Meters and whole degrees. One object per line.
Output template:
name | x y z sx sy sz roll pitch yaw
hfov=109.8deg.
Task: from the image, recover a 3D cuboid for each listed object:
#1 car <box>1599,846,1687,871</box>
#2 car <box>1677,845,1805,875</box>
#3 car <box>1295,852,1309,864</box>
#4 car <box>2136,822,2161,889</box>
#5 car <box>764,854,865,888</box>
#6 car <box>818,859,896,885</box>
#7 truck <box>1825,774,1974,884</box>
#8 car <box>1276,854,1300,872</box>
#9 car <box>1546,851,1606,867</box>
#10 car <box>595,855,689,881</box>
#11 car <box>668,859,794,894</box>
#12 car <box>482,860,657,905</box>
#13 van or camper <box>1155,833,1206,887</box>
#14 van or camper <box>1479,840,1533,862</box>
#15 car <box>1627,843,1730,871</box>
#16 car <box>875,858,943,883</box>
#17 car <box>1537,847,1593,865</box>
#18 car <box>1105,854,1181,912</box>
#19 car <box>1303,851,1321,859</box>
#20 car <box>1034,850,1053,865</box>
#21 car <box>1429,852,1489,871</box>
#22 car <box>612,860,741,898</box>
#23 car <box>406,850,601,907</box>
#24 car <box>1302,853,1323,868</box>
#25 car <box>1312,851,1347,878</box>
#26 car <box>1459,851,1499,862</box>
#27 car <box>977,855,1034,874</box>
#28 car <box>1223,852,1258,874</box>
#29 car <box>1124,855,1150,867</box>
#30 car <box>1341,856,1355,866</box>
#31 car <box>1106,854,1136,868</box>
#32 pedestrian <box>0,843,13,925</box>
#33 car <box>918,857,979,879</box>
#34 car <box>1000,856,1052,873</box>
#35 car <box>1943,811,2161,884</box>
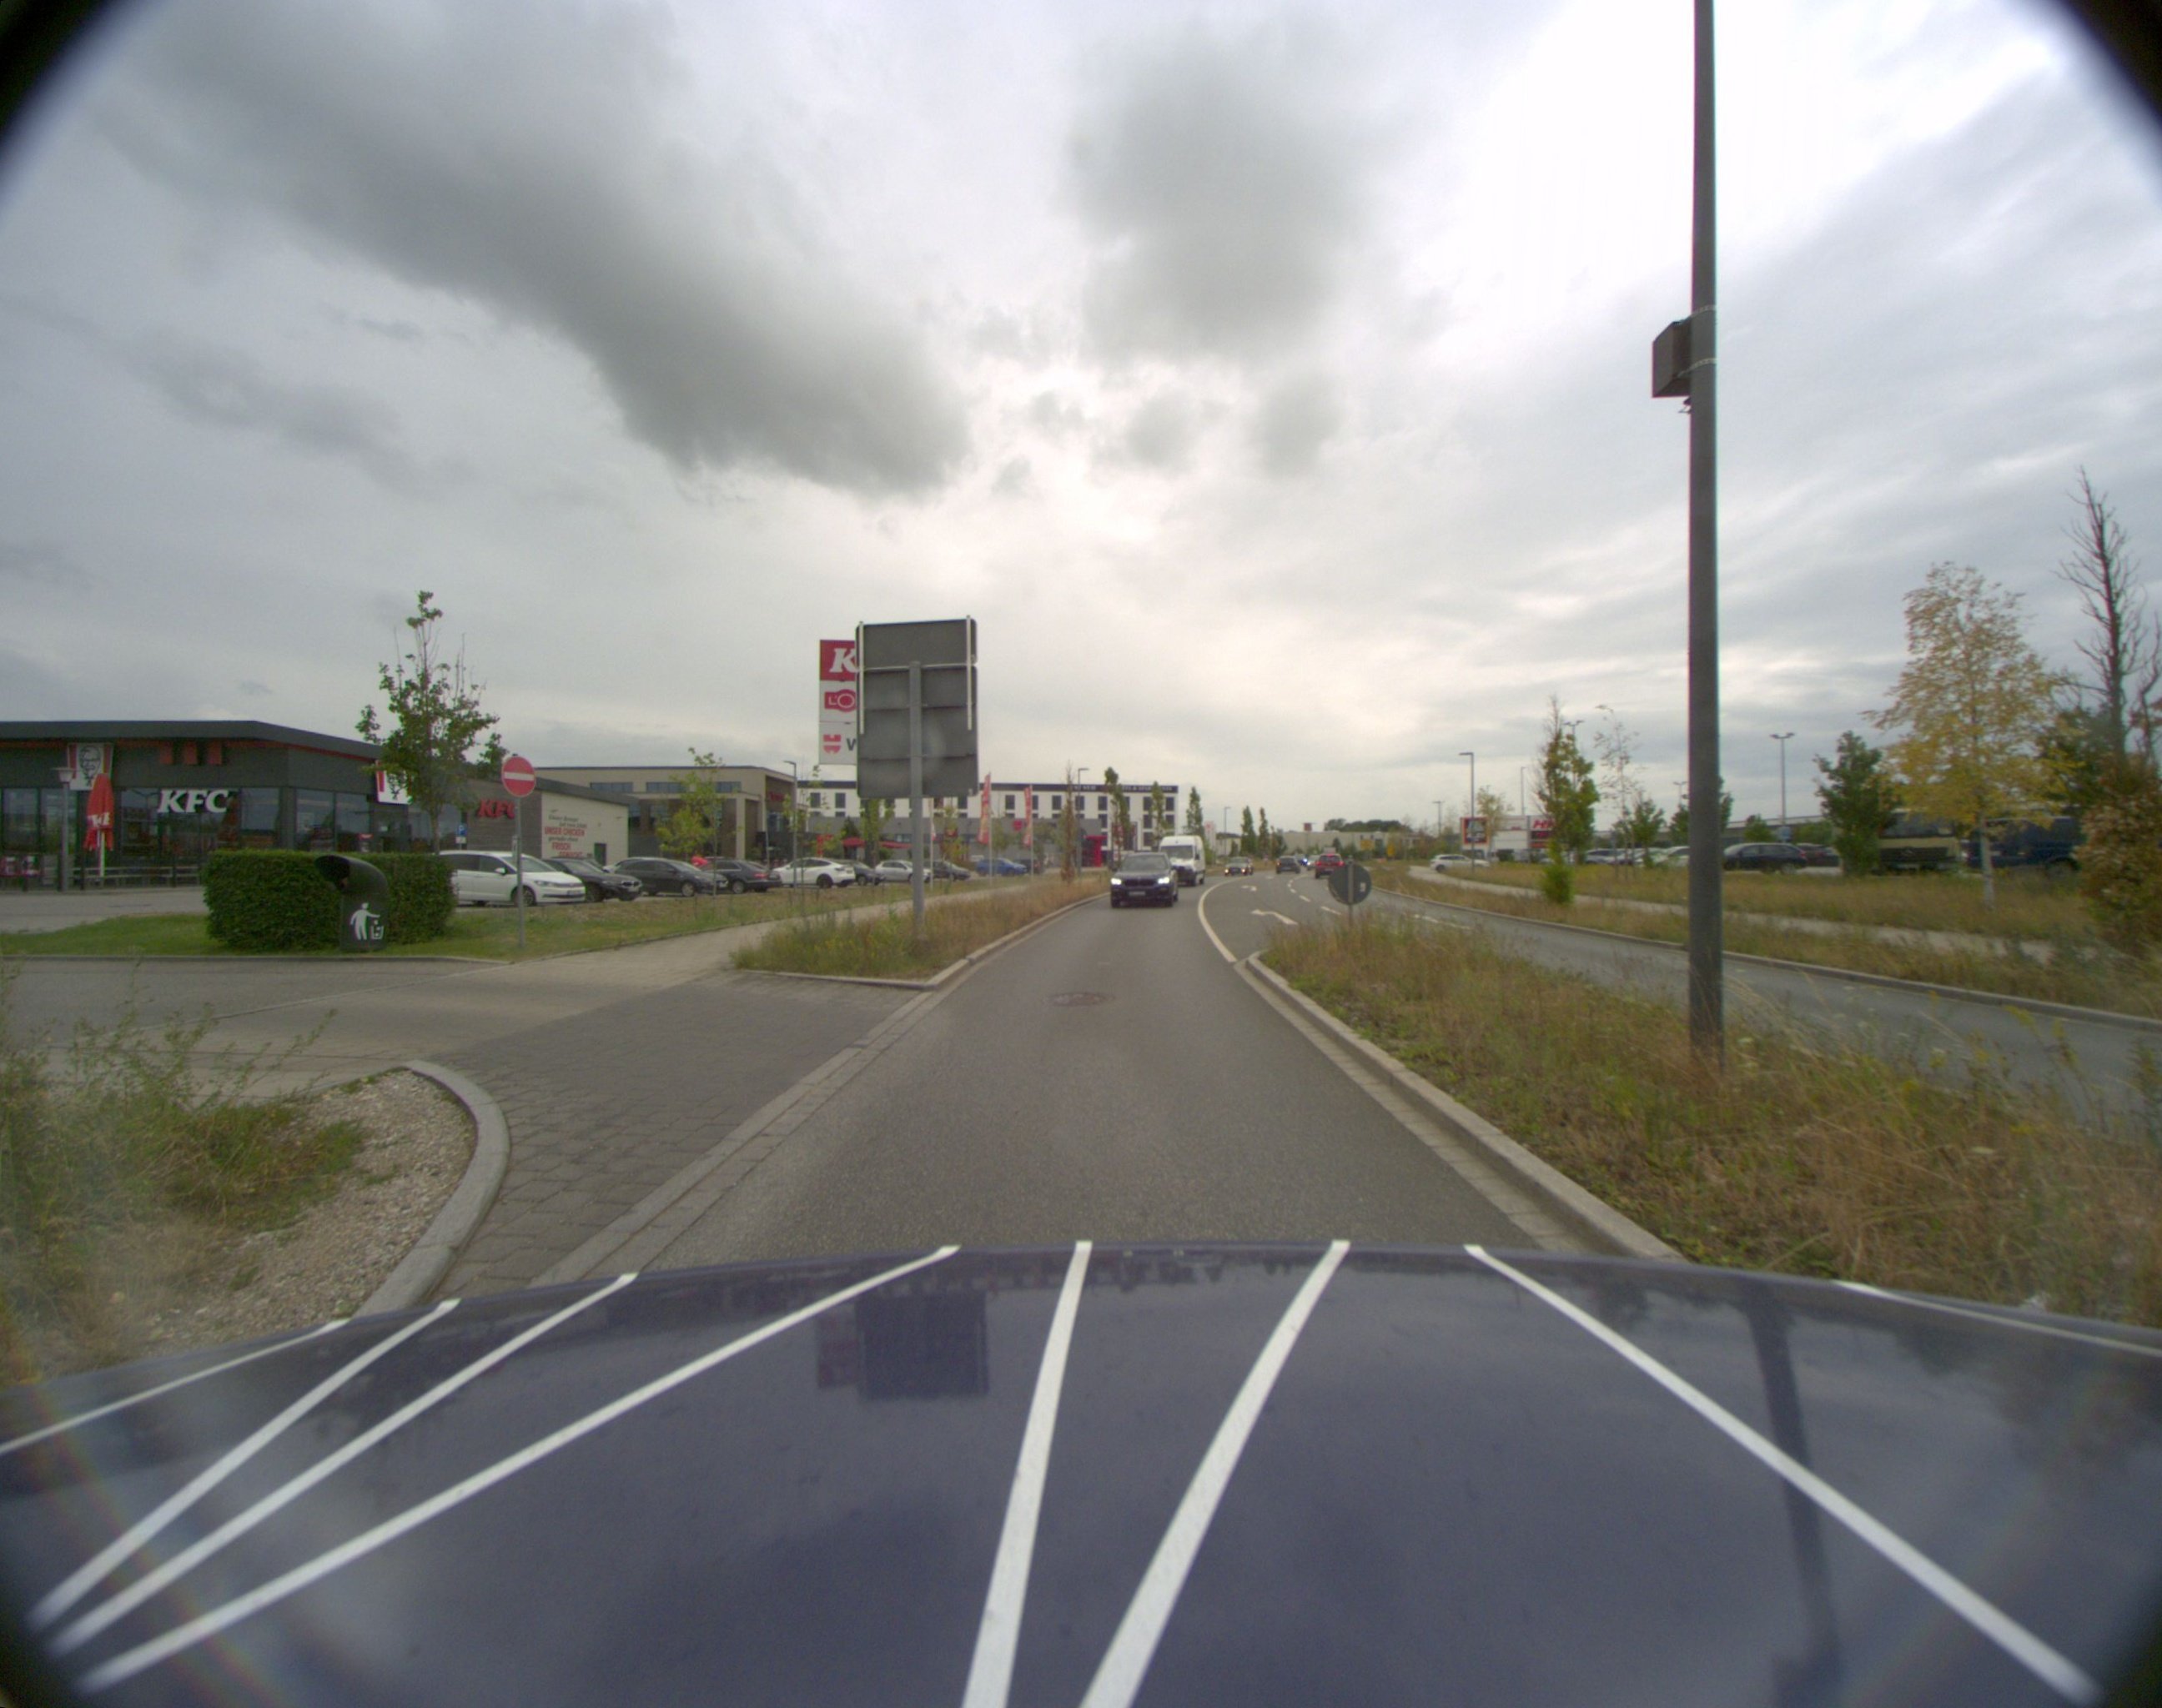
car | 36.268 0.277 49.174 4.246 1.504 2.049 -1 0 23
car | 32.007 0.292 36.993 4.237 1.426 2.000 0 0 17
car | 29.935 0.575 102.845 1.754 1.575 4.005 -1 0 16
car | 28.286 0.017 17.570 4.914 1.607 1.995 -1 0 1
car | -13.916 0.874 39.817 4.568 1.635 2.090 1 0 13
car | -13.215 1.033 44.859 3.992 1.476 1.943 0 1 16
truck | 30.162 -0.808 28.359 2.851 3.520 8.447 -1 0 41
car | 16.849 0.686 61.820 1.832 1.412 4.250 -1 0 15
car | 45.422 0.437 69.856 4.322 1.448 2.014 0 0 22
car | -26.909 0.840 46.686 4.571 1.510 2.081 1 0 3
car | -15.067 0.952 32.851 4.526 1.460 2.033 0 0 8
car | -16.803 0.904 25.109 4.477 1.428 2.075 0 0 5
van or camper | 5.299 0.325 39.765 2.262 2.601 5.702 0 0 11
van or camper | 56.275 -0.397 100.797 5.860 2.783 2.245 0 1 14
car | 34.607 0.188 44.136 4.253 1.550 1.991 0 0 14
car | -11.135 1.048 49.348 3.865 1.473 1.905 1 1 18
car | 47.402 0.213 74.492 4.304 1.645 2.084 0 0 21
car | 2.051 0.860 24.043 1.997 1.654 4.003 -1 -1 10
car | 59.551 0.363 195.856 4.002 2.002 1.640 -1 0 -16
car | -5.043 0.501 101.082 2.000 1.975 4.632 0 0 -9
car | 29.933 0.581 60.300 4.182 1.460 1.889 0 1 25
car | -15.908 0.962 29.989 4.092 1.429 1.944 0 0 6
car | -17.060 0.711 22.597 4.357 1.630 1.938 0 0 2
car | 22.770 0.610 74.601 1.704 1.429 4.039 0 0 20
car | 16.436 0.669 50.429 1.801 1.659 4.332 2 0 14
car | 47.988 0.313 91.734 4.084 1.252 2.015 0 0 23
car | -6.261 0.886 63.138 4.266 1.511 1.969 0 0 22
car | 12.433 0.688 59.069 1.753 1.575 4.007 -1 0 25
car | 6.751 0.821 90.892 1.865 1.428 4.887 0 0 19
car | 47.395 1.227 134.634 1.995 1.627 4.710 2 1 23
car | 4.553 0.781 85.672 1.963 1.451 4.840 0 0 22
pedestrian | -23.890 0.662 16.468 0.472 1.795 0.799 0 1 -21
car | -9.390 0.999 53.843 3.762 1.485 1.892 0 0 20
car | -4.687 0.890 65.292 3.990 1.485 1.985 -1 0 25
car | 28.973 -0.173 22.064 4.910 1.978 2.181 0 0 11
